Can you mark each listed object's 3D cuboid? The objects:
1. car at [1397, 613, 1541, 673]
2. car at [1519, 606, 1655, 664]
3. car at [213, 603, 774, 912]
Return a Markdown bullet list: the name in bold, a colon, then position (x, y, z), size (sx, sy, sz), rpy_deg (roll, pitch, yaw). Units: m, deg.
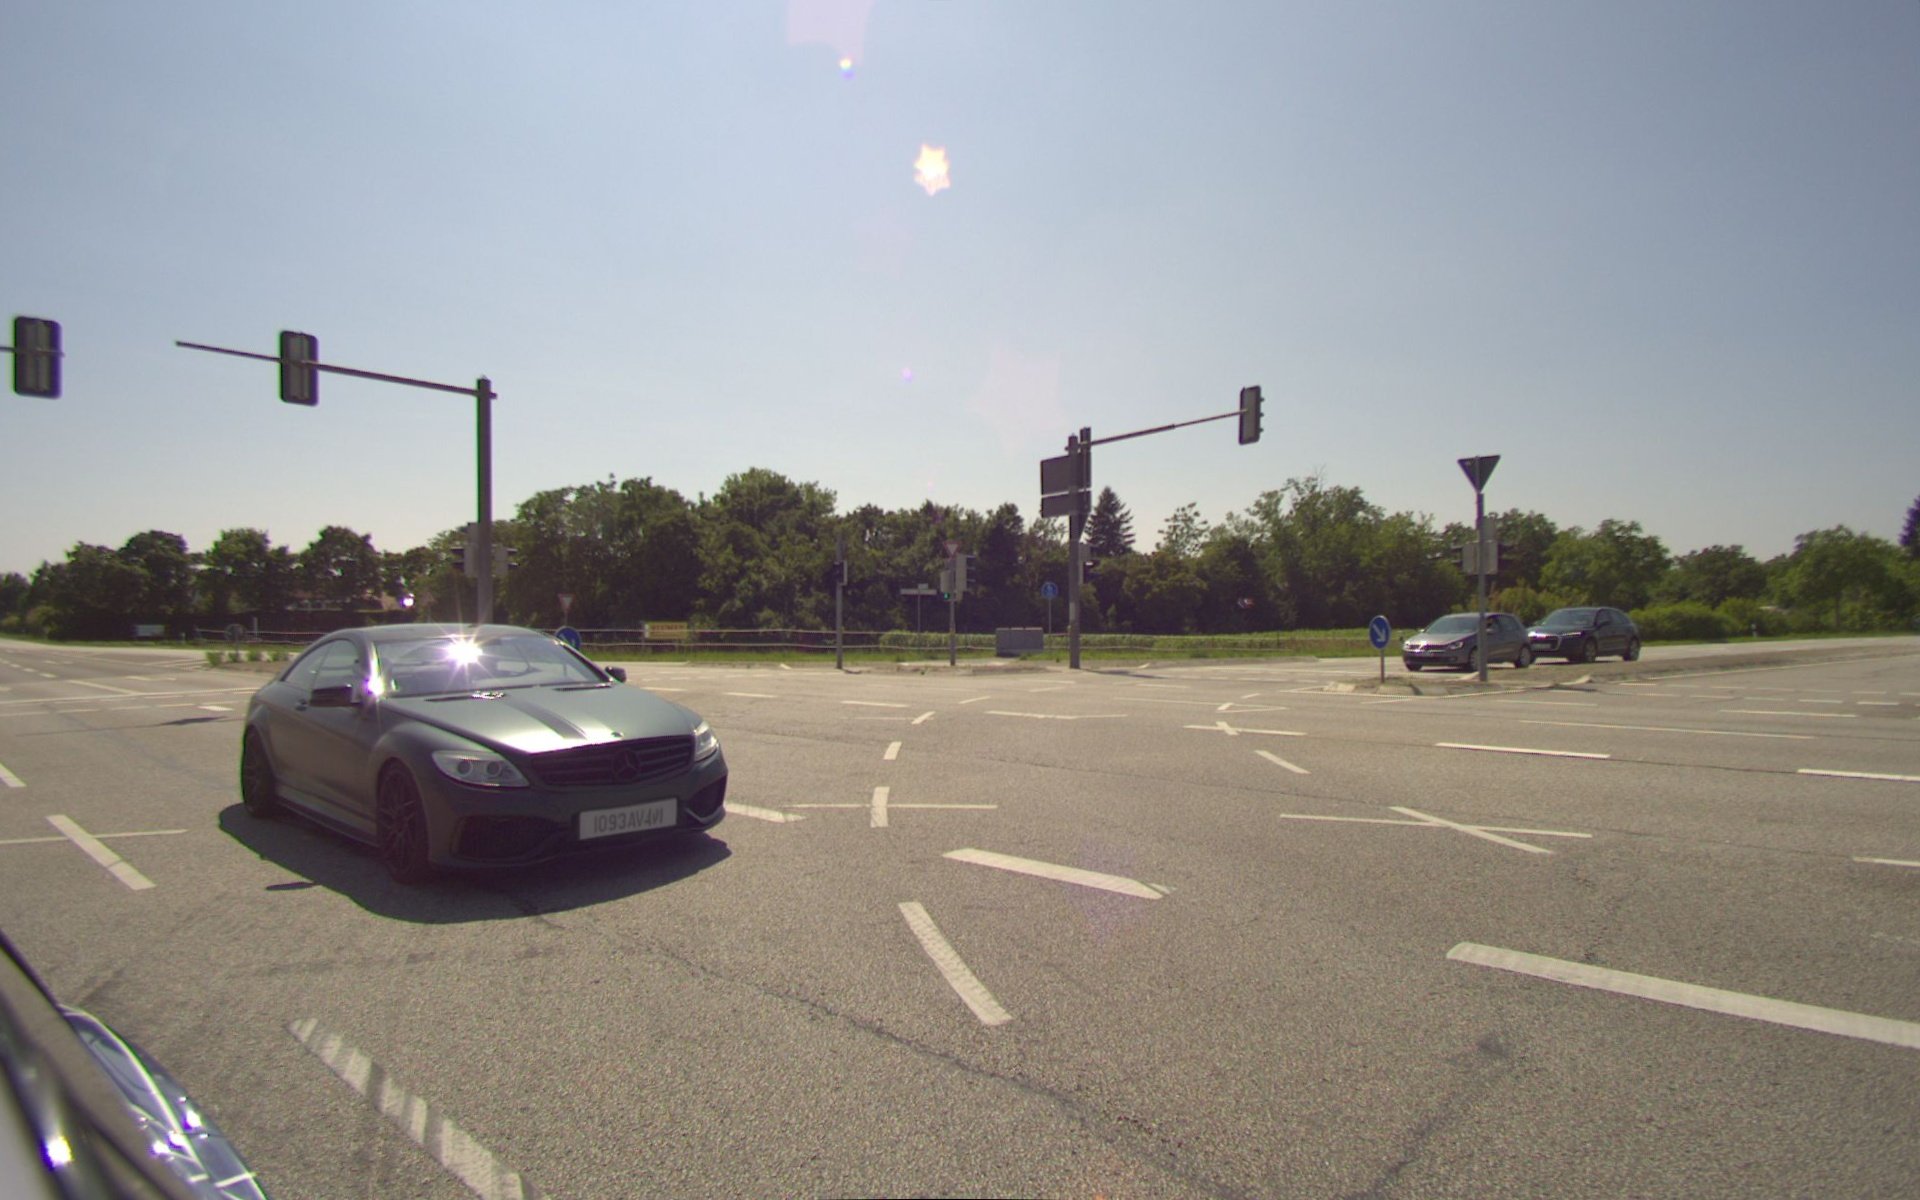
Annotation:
- **car**: position (13.169, 1.073, 26.111), size (3.815, 1.397, 1.639), rpy_deg (-1, -2, -34)
- **car**: position (18.345, 1.010, 29.563), size (4.295, 1.606, 1.639), rpy_deg (1, -2, -32)
- **car**: position (-3.557, 0.808, 7.144), size (4.875, 1.461, 1.792), rpy_deg (-2, -1, 42)
